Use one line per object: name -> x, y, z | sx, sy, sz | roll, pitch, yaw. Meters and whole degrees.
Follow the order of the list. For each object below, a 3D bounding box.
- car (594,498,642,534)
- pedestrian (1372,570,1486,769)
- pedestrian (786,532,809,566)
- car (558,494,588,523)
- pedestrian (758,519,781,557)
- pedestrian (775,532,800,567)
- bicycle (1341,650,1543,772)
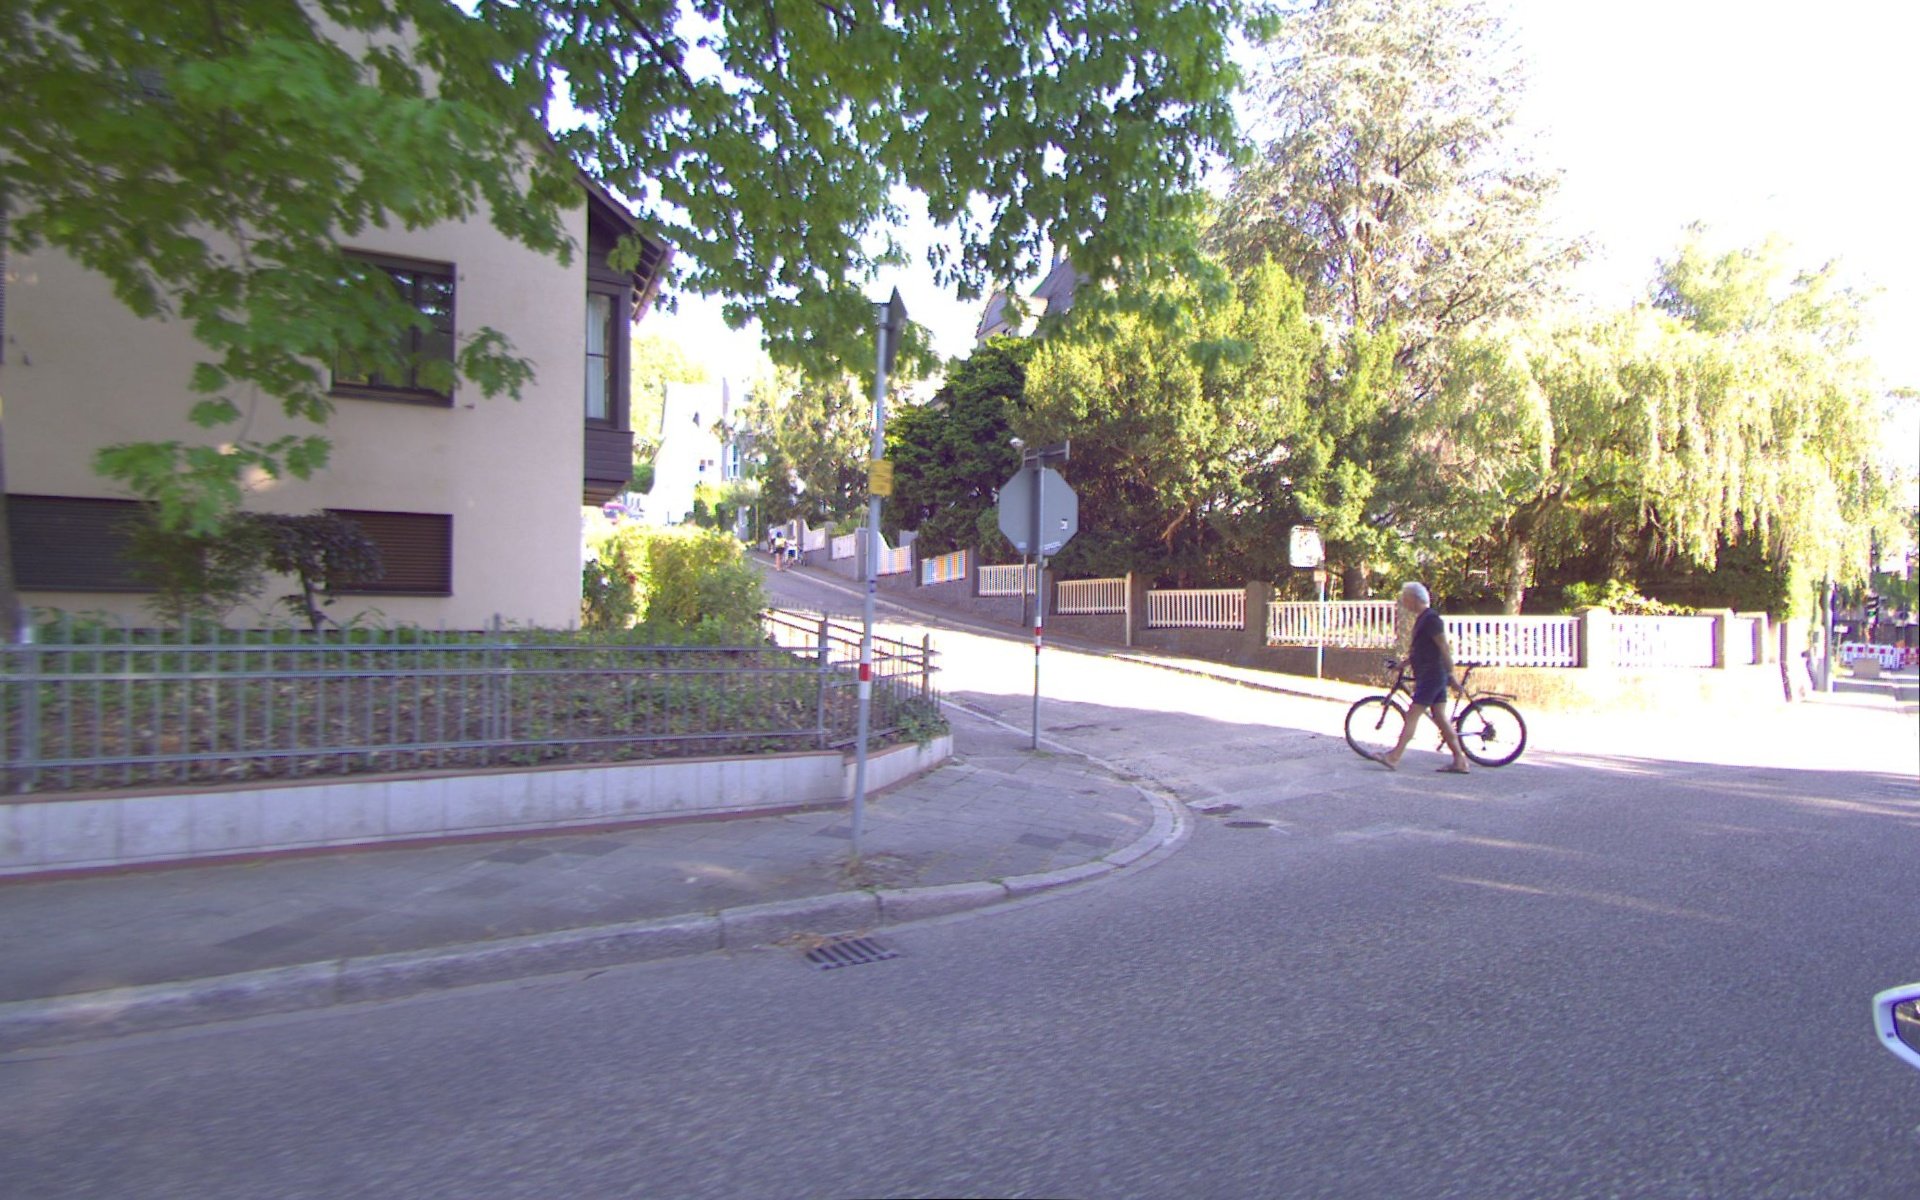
car -> -19.637, -4.751, 57.548 | 1.975, 1.729, 3.971 | 2, 1, -27
pedestrian -> 4.582, 0.647, 9.872 | 0.925, 1.851, 0.554 | 2, 2, 23
pedestrian -> -6.831, -2.135, 42.109 | 0.764, 1.389, 0.566 | 2, 1, -30
car -> -32.222, -7.607, 83.552 | 1.974, 2.040, 3.973 | 2, 0, -26
pedestrian -> -8.752, -2.851, 46.147 | 0.767, 1.664, 0.687 | 2, 1, -30
pedestrian -> -6.978, -2.038, 40.610 | 0.562, 1.389, 0.769 | 3, 1, 42
bicycle -> 4.892, 1.101, 10.290 | 1.783, 1.057, 0.561 | 2, 2, 25
